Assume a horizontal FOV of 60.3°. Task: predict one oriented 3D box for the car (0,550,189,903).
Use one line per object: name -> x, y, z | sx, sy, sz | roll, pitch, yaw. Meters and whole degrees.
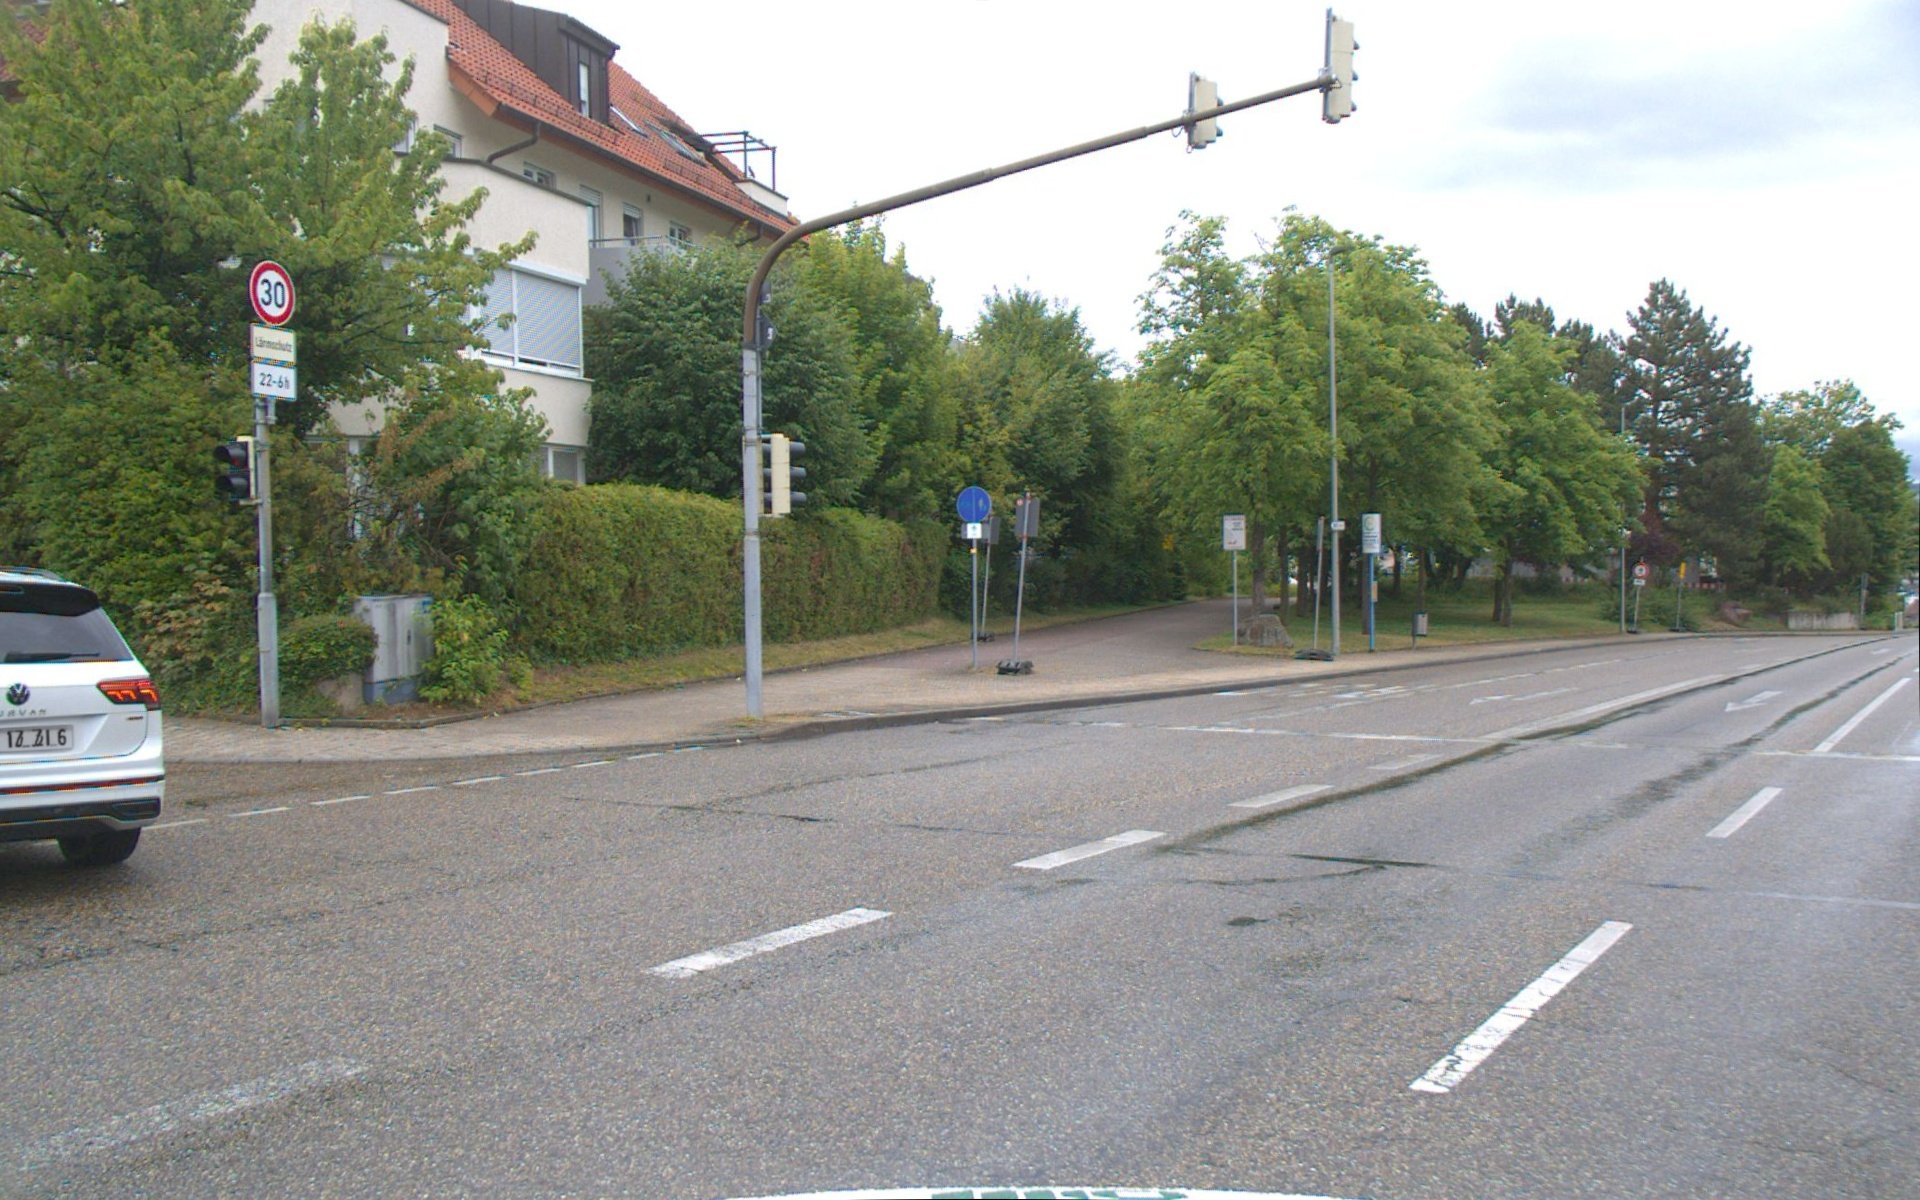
car -> -6.245, 0.580, 9.469 | 4.194, 1.725, 1.759 | 1, 1, 41
